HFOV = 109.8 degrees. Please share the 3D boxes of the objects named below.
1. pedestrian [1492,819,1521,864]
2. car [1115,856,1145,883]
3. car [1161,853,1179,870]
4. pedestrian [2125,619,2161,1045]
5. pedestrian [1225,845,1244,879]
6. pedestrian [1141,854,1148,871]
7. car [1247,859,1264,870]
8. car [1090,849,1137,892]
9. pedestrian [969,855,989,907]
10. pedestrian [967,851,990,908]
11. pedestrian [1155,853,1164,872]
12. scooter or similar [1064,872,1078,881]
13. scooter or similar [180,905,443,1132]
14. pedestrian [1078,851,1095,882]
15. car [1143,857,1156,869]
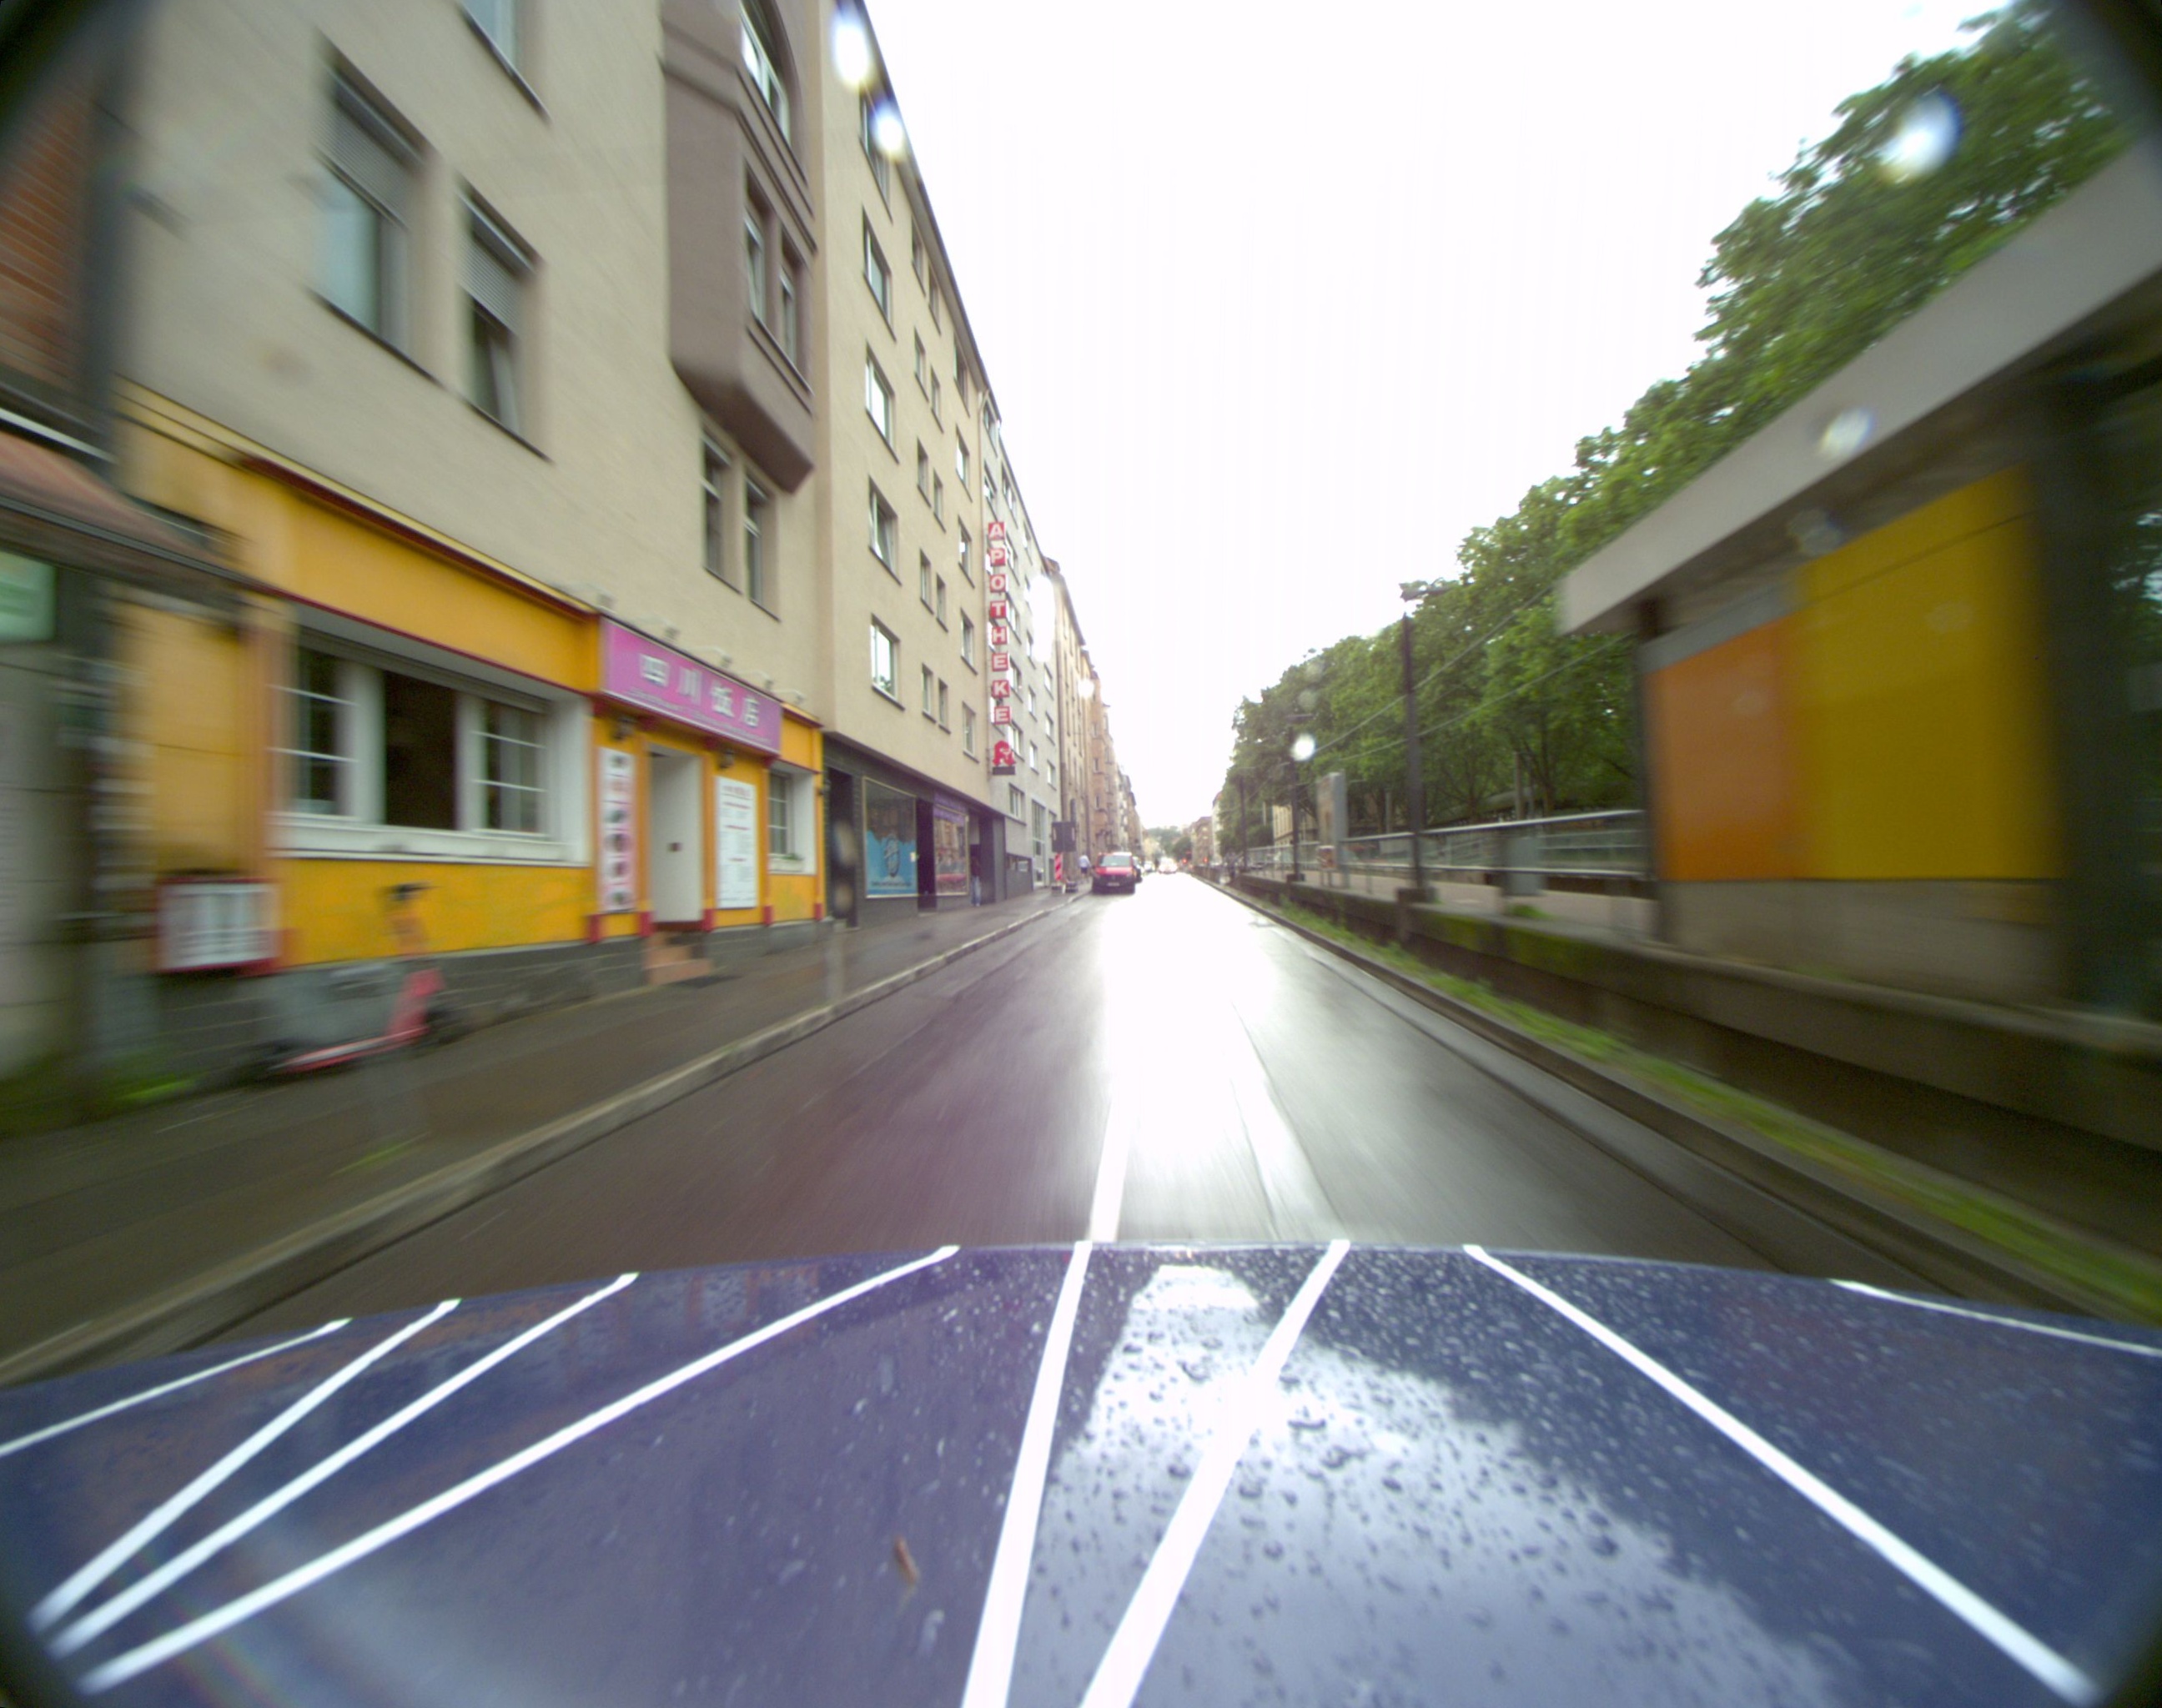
[{"bbox_3d":[16.135,-0.468,28.833,0.659,1.653,0.688,-2,-1,6],"label":"pedestrian"},{"bbox_3d":[3.350,1.015,51.244,1.769,1.698,4.502,-1,-1,7],"label":"car"},{"bbox_3d":[8.821,0.750,75.626,1.620,1.592,4.069,-1,-2,5],"label":"car"},{"bbox_3d":[4.249,-0.083,2.715,0.410,1.595,0.450,-1,0,0],"label":"pedestrian"},{"bbox_3d":[8.143,0.414,40.274,0.861,1.788,0.788,-2,0,6],"label":"pedestrian"},{"bbox_3d":[6.051,0.823,72.219,0.481,1.629,0.433,-2,-1,-7],"label":"pedestrian"},{"bbox_3d":[24.863,1.547,108.229,1.891,1.468,3.809,-2,-1,7],"label":"car"},{"bbox_3d":[1.618,0.718,35.940,1.979,1.827,5.247,-1,0,4],"label":"car"},{"bbox_3d":[-3.288,0.858,24.432,0.483,1.635,0.330,-2,0,-26],"label":"pedestrian"},{"bbox_3d":[-3.156,0.779,23.431,0.462,1.710,0.517,-2,1,15],"label":"pedestrian"},{"bbox_3d":[6.861,0.746,66.114,0.652,1.694,0.662,-2,0,15],"label":"pedestrian"},{"bbox_3d":[-0.591,1.370,45.782,0.858,0.503,0.258,0,1,37],"label":"scooter or similar"},{"bbox_3d":[-4.896,0.979,4.927,0.258,1.214,1.196,-2,0,16],"label":"scooter or similar"},{"bbox_3d":[0.330,0.725,44.565,0.853,1.747,0.838,-2,0,7],"label":"pedestrian"},{"bbox_3d":[9.424,1.210,104.572,1.745,1.576,4.002,-1,-1,5],"label":"car"}]
